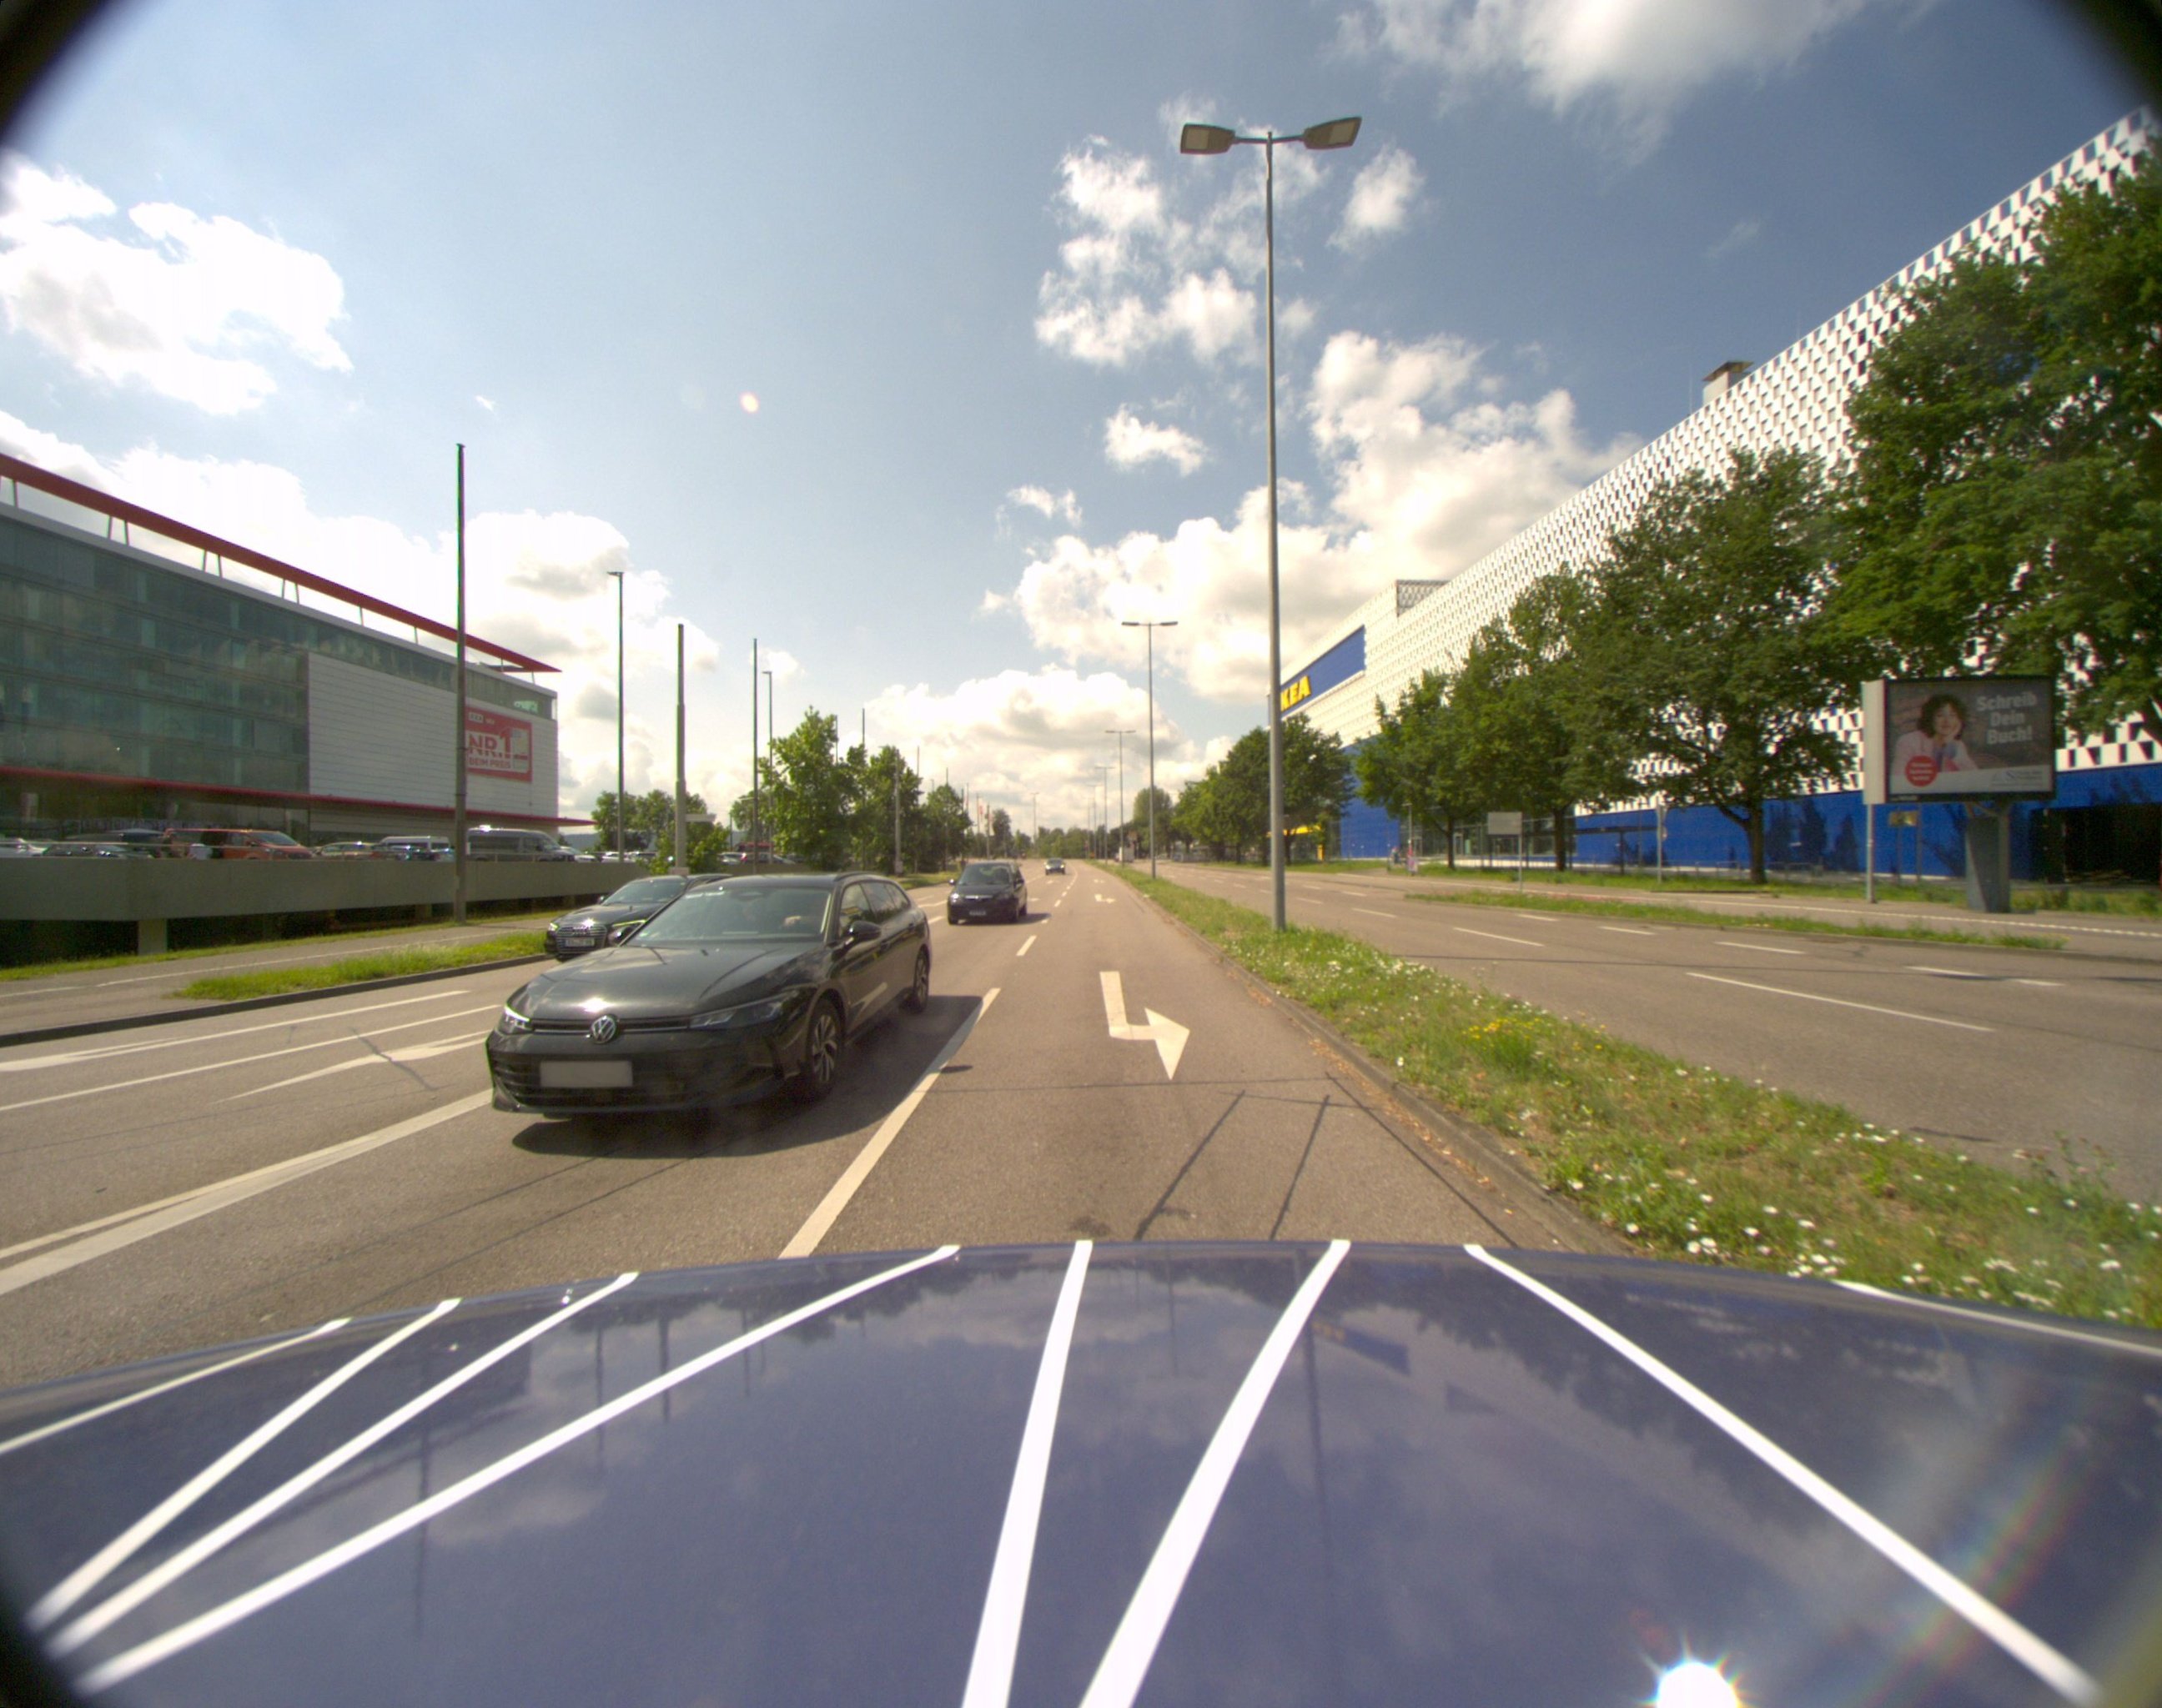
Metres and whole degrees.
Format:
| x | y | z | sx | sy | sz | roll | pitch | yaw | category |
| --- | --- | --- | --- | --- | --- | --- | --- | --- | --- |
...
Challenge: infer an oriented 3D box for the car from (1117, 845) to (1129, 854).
| x | y | z | sx | sy | sz | roll | pitch | yaw | category |
| --- | --- | --- | --- | --- | --- | --- | --- | --- | --- |
| 8.045 | -0.842 | 145.464 | 1.941 | 1.674 | 3.999 | -2 | 1 | 1 | car |

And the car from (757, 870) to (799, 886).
| x | y | z | sx | sy | sz | roll | pitch | yaw | category |
| --- | --- | --- | --- | --- | --- | --- | --- | --- | --- |
| -37.052 | 2.942 | 92.854 | 4.421 | 1.754 | 1.559 | -2 | 1 | -3 | car |

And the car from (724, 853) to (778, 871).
| x | y | z | sx | sy | sz | roll | pitch | yaw | category |
| --- | --- | --- | --- | --- | --- | --- | --- | --- | --- |
| -32.935 | 0.809 | 75.940 | 4.420 | 1.596 | 1.954 | -1 | 1 | 0 | car |

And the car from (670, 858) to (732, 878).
| x | y | z | sx | sy | sz | roll | pitch | yaw | category |
| --- | --- | --- | --- | --- | --- | --- | --- | --- | --- |
| -33.262 | 1.218 | 66.569 | 4.420 | 1.596 | 1.954 | -1 | 1 | 0 | car |

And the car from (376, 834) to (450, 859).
| x | y | z | sx | sy | sz | roll | pitch | yaw | category |
| --- | --- | --- | --- | --- | --- | --- | --- | --- | --- |
| -52.358 | -0.592 | 59.643 | 3.997 | 1.740 | 1.916 | -2 | 1 | 0 | car |

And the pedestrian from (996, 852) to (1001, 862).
| x | y | z | sx | sy | sz | roll | pitch | yaw | category |
| --- | --- | --- | --- | --- | --- | --- | --- | --- | --- |
| -15.290 | 0.528 | 140.403 | 0.528 | 1.803 | 0.675 | -3 | 2 | -37 | pedestrian |

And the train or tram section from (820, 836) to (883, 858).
| x | y | z | sx | sy | sz | roll | pitch | yaw | category |
| --- | --- | --- | --- | --- | --- | --- | --- | --- | --- |
| -52.877 | -1.614 | 175.420 | 13.098 | 4.646 | 3.731 | -2 | 1 | -2 | train or tram section |

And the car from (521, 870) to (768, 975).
| x | y | z | sx | sy | sz | roll | pitch | yaw | category |
| --- | --- | --- | --- | --- | --- | --- | --- | --- | --- |
| -7.784 | 1.121 | 14.219 | 1.778 | 1.469 | 4.679 | -1 | 0 | 2 | car |

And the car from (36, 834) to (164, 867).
| x | y | z | sx | sy | sz | roll | pitch | yaw | category |
| --- | --- | --- | --- | --- | --- | --- | --- | --- | --- |
| -52.955 | -0.193 | 41.068 | 4.419 | 1.596 | 1.955 | -1 | 1 | 1 | car |

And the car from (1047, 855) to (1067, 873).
| x | y | z | sx | sy | sz | roll | pitch | yaw | category |
| --- | --- | --- | --- | --- | --- | --- | --- | --- | --- |
| -2.121 | 0.852 | 68.220 | 1.606 | 1.521 | 4.269 | -1 | 0 | 0 | car |

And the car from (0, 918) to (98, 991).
| x | y | z | sx | sy | sz | roll | pitch | yaw | category |
| --- | --- | --- | --- | --- | --- | --- | --- | --- | --- |
| -29.690 | 2.785 | 20.173 | 1.999 | 1.740 | 3.999 | -2 | 0 | -3 | car |

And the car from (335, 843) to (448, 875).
| x | y | z | sx | sy | sz | roll | pitch | yaw | category |
| --- | --- | --- | --- | --- | --- | --- | --- | --- | --- |
| -38.025 | 0.249 | 41.973 | 4.419 | 1.596 | 1.955 | -1 | 1 | 1 | car |

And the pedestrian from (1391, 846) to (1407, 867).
| x | y | z | sx | sy | sz | roll | pitch | yaw | category |
| --- | --- | --- | --- | --- | --- | --- | --- | --- | --- |
| 27.019 | 0.181 | 64.589 | 0.853 | 1.718 | 1.165 | -2 | 1 | 3 | pedestrian |

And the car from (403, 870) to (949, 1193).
| x | y | z | sx | sy | sz | roll | pitch | yaw | category |
| --- | --- | --- | --- | --- | --- | --- | --- | --- | --- |
| -2.528 | 0.971 | 6.502 | 1.813 | 1.469 | 5.203 | -1 | 0 | 0 | car |

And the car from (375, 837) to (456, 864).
| x | y | z | sx | sy | sz | roll | pitch | yaw | category |
| --- | --- | --- | --- | --- | --- | --- | --- | --- | --- |
| -47.459 | -0.271 | 54.271 | 3.997 | 1.740 | 1.916 | -2 | 1 | 0 | car |

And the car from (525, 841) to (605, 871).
| x | y | z | sx | sy | sz | roll | pitch | yaw | category |
| --- | --- | --- | --- | --- | --- | --- | --- | --- | --- |
| -33.641 | 0.093 | 49.607 | 3.996 | 1.783 | 1.749 | -2 | 1 | 1 | car |

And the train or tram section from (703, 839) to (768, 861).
| x | y | z | sx | sy | sz | roll | pitch | yaw | category |
| --- | --- | --- | --- | --- | --- | --- | --- | --- | --- |
| -79.279 | -1.042 | 174.589 | 13.098 | 4.535 | 3.731 | -2 | 1 | -2 | train or tram section |

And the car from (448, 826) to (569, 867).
| x | y | z | sx | sy | sz | roll | pitch | yaw | category |
| --- | --- | --- | --- | --- | --- | --- | --- | --- | --- |
| -34.693 | -0.474 | 46.184 | 5.796 | 2.270 | 1.749 | -2 | 1 | -3 | car |

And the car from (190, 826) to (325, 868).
| x | y | z | sx | sy | sz | roll | pitch | yaw | category |
| --- | --- | --- | --- | --- | --- | --- | --- | --- | --- |
| -37.291 | -0.321 | 34.488 | 4.184 | 1.740 | 1.917 | -2 | 1 | 5 | car |

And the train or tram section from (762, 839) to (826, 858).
| x | y | z | sx | sy | sz | roll | pitch | yaw | category |
| --- | --- | --- | --- | --- | --- | --- | --- | --- | --- |
| -65.990 | -1.251 | 175.023 | 13.098 | 4.346 | 3.731 | 0 | 1 | -2 | train or tram section |

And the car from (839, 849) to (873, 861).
| x | y | z | sx | sy | sz | roll | pitch | yaw | category |
| --- | --- | --- | --- | --- | --- | --- | --- | --- | --- |
| -33.496 | 0.180 | 112.967 | 4.420 | 1.596 | 1.954 | -1 | 1 | 0 | car |

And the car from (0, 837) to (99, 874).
| x | y | z | sx | sy | sz | roll | pitch | yaw | category |
| --- | --- | --- | --- | --- | --- | --- | --- | --- | --- |
| -53.489 | 0.102 | 38.827 | 3.997 | 1.740 | 1.916 | -2 | 1 | 0 | car |

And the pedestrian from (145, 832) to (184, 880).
| x | y | z | sx | sy | sz | roll | pitch | yaw | category |
| --- | --- | --- | --- | --- | --- | --- | --- | --- | --- |
| -39.124 | 0.061 | 32.446 | 0.913 | 2.002 | 0.705 | -3 | 2 | -44 | pedestrian |

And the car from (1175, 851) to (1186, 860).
| x | y | z | sx | sy | sz | roll | pitch | yaw | category |
| --- | --- | --- | --- | --- | --- | --- | --- | --- | --- |
| 20.456 | 0.360 | 156.256 | 1.941 | 1.674 | 3.999 | -2 | 1 | 1 | car |

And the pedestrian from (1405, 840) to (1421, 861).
| x | y | z | sx | sy | sz | roll | pitch | yaw | category |
| --- | --- | --- | --- | --- | --- | --- | --- | --- | --- |
| 28.163 | -0.297 | 64.446 | 0.853 | 1.718 | 1.165 | -2 | 1 | 3 | pedestrian |

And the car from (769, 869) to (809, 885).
| x | y | z | sx | sy | sz | roll | pitch | yaw | category |
| --- | --- | --- | --- | --- | --- | --- | --- | --- | --- |
| -37.197 | 2.926 | 96.762 | 4.421 | 1.754 | 1.559 | -2 | 1 | -3 | car |

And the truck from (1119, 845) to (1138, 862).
| x | y | z | sx | sy | sz | roll | pitch | yaw | category |
| --- | --- | --- | --- | --- | --- | --- | --- | --- | --- |
| 8.514 | -0.123 | 136.826 | 2.972 | 2.736 | 5.782 | -2 | 1 | -2 | truck |

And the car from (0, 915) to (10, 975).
| x | y | z | sx | sy | sz | roll | pitch | yaw | category |
| --- | --- | --- | --- | --- | --- | --- | --- | --- | --- |
| -32.872 | 2.730 | 20.433 | 1.999 | 1.740 | 4.362 | -2 | 0 | -3 | car |

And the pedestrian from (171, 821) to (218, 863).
| x | y | z | sx | sy | sz | roll | pitch | yaw | category |
| --- | --- | --- | --- | --- | --- | --- | --- | --- | --- |
| -38.310 | -0.524 | 32.857 | 1.021 | 1.732 | 0.706 | -2 | 1 | -13 | pedestrian |

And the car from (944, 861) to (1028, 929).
| x | y | z | sx | sy | sz | roll | pitch | yaw | category |
| --- | --- | --- | --- | --- | --- | --- | --- | --- | --- |
| -2.348 | 0.978 | 19.678 | 1.606 | 1.521 | 4.269 | -1 | 0 | 0 | car |

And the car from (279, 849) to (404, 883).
| x | y | z | sx | sy | sz | roll | pitch | yaw | category |
| --- | --- | --- | --- | --- | --- | --- | --- | --- | --- |
| -37.982 | 0.590 | 39.097 | 4.420 | 1.596 | 1.954 | -1 | 1 | 0 | car |

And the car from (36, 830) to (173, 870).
| x | y | z | sx | sy | sz | roll | pitch | yaw | category |
| --- | --- | --- | --- | --- | --- | --- | --- | --- | --- |
| -47.068 | -0.221 | 36.689 | 3.997 | 1.740 | 1.916 | -2 | 1 | 0 | car |
